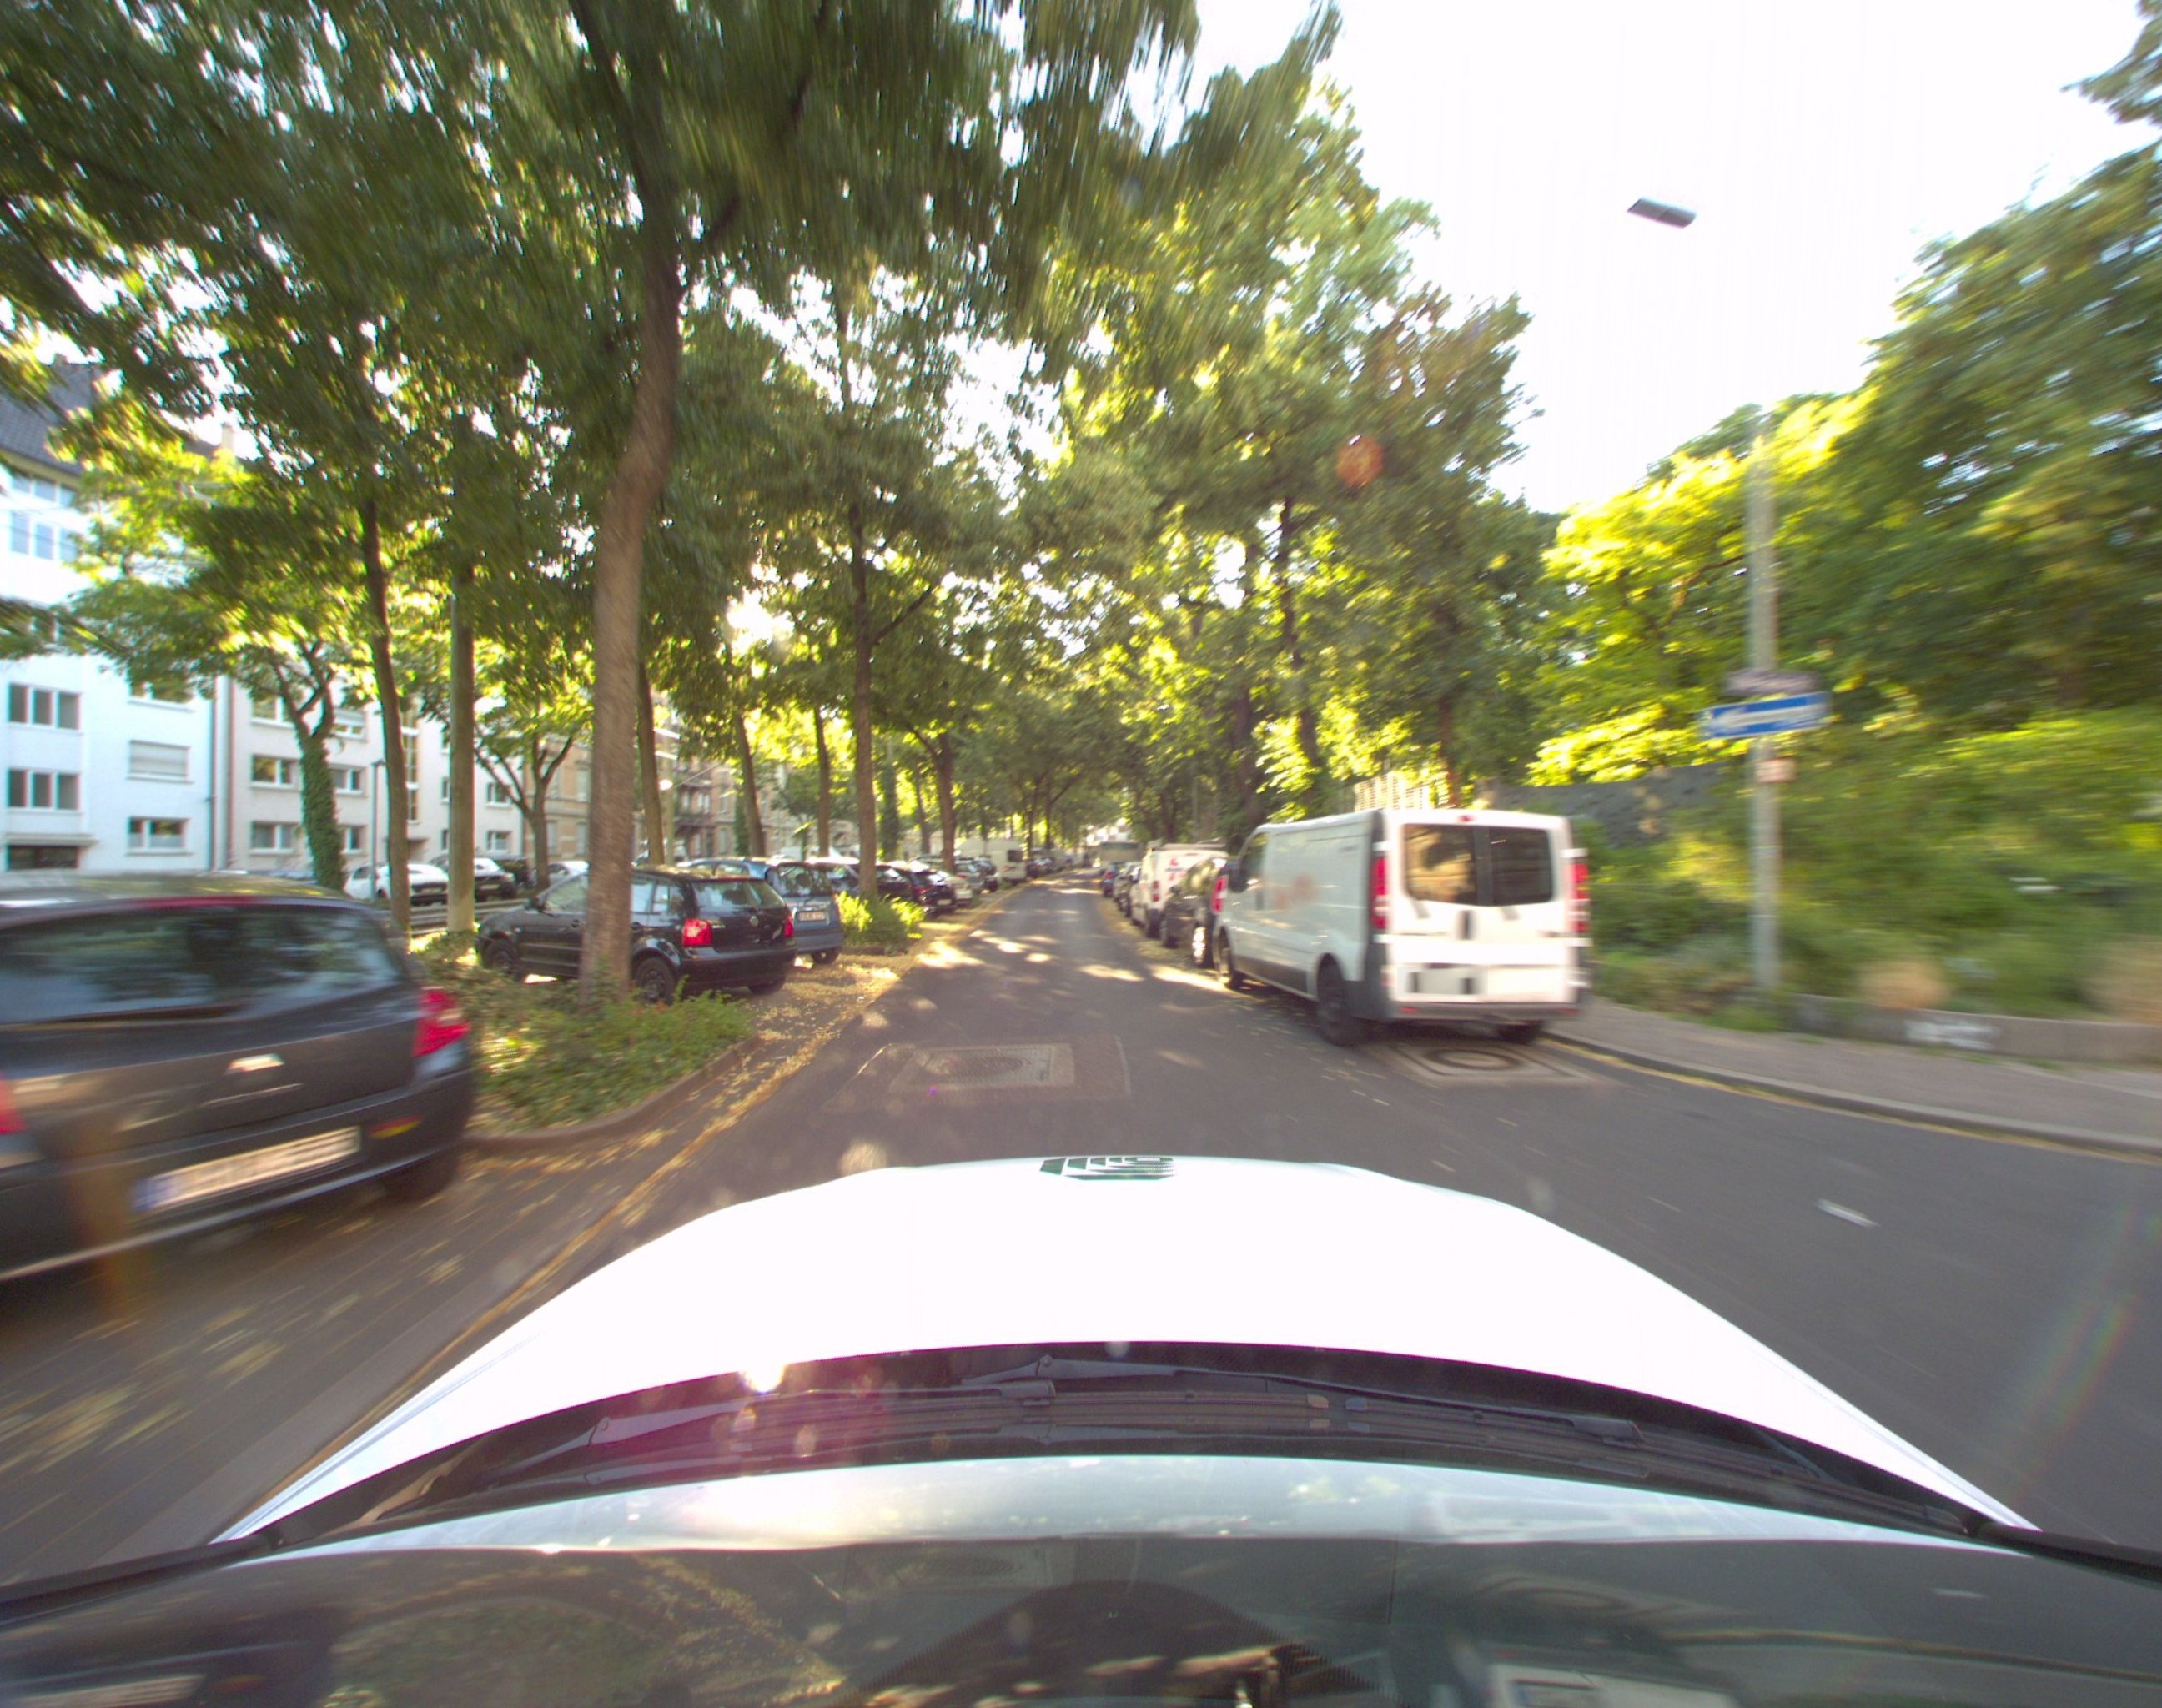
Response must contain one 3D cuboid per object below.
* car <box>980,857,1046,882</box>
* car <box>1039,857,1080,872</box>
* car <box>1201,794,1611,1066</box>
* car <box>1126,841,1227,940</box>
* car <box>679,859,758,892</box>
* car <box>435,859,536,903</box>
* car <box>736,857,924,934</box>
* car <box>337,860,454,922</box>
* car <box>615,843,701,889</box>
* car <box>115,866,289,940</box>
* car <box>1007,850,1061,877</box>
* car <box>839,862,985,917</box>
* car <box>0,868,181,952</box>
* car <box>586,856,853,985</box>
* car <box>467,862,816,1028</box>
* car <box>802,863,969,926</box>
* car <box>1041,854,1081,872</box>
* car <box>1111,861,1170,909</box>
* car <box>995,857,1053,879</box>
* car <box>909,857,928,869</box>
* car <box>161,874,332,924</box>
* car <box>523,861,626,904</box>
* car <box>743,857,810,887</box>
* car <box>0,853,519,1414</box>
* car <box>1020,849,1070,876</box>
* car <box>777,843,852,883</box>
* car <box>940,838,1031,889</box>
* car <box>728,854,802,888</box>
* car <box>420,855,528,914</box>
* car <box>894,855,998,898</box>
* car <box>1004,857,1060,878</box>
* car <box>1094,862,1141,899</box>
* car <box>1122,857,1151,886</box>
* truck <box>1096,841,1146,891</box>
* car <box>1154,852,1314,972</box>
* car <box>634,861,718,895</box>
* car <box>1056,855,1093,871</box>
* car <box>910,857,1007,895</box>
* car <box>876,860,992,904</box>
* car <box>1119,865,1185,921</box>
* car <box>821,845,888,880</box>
[{"bbox_3d":[-4.562,1.040,54.515,4.040,1.473,1.830,2,-1,32],"label":"car"},{"bbox_3d":[-2.382,1.169,88.277,4.040,1.473,1.830,2,-1,32],"label":"car"},{"bbox_3d":[2.825,0.562,8.451,1.942,2.003,4.648,-1,0,-7],"label":"car"},{"bbox_3d":[1.964,0.708,17.802,1.567,1.903,3.898,-1,0,-3],"label":"car"},{"bbox_3d":[-20.599,1.227,46.195,4.187,1.473,1.869,-5,-1,29],"label":"car"},{"bbox_3d":[-28.861,1.276,39.623,1.703,1.932,4.004,-2,0,4],"label":"car"},{"bbox_3d":[-5.756,0.909,18.765,3.785,1.497,1.746,2,-1,20],"label":"car"},{"bbox_3d":[-21.638,1.183,25.672,4.186,1.651,1.870,-5,-1,37],"label":"car"},{"bbox_3d":[-28.450,0.790,55.026,2.541,2.887,5.487,-2,0,4],"label":"car"},{"bbox_3d":[-21.364,1.192,19.779,4.188,1.458,1.617,-5,-1,25],"label":"car"},{"bbox_3d":[-3.846,0.801,66.500,4.040,2.040,1.830,2,-1,32],"label":"car"},{"bbox_3d":[-4.983,1.002,24.072,3.785,1.391,1.746,2,-1,20],"label":"car"},{"bbox_3d":[-21.322,1.212,17.380,4.188,1.458,1.617,-5,-1,25],"label":"car"},{"bbox_3d":[-5.380,0.876,12.122,3.575,1.562,1.617,2,1,25],"label":"car"},{"bbox_3d":[-5.018,0.892,9.292,3.575,1.447,1.617,2,1,24],"label":"car"},{"bbox_3d":[-5.029,1.007,21.044,3.785,1.391,1.746,2,-1,20],"label":"car"},{"bbox_3d":[-2.280,1.018,91.165,4.040,1.789,1.830,2,-1,32],"label":"car"},{"bbox_3d":[1.958,0.995,27.595,1.567,1.467,3.597,-1,0,-3],"label":"car"},{"bbox_3d":[-4.312,1.062,61.404,4.040,1.473,1.830,2,-1,32],"label":"car"},{"bbox_3d":[-25.070,1.410,125.947,1.702,1.820,4.006,-2,0,5],"label":"car"},{"bbox_3d":[-29.160,1.524,28.666,1.703,1.446,4.004,-2,0,4],"label":"car"},{"bbox_3d":[-21.764,1.236,34.995,4.187,1.473,1.869,-5,-1,29],"label":"car"},{"bbox_3d":[-20.707,1.212,55.405,4.187,1.699,1.869,-5,-1,29],"label":"car"},{"bbox_3d":[-4.566,0.814,3.675,3.690,1.520,1.617,2,1,24],"label":"car"},{"bbox_3d":[-3.224,0.746,72.804,4.040,2.210,1.830,2,-1,32],"label":"car"},{"bbox_3d":[-20.117,0.691,61.404,5.201,2.571,2.287,-5,-1,29],"label":"car"},{"bbox_3d":[-5.034,0.499,42.611,4.443,2.476,1.830,2,-1,32],"label":"car"},{"bbox_3d":[-19.465,1.056,50.153,4.187,1.699,1.869,-5,-1,29],"label":"car"},{"bbox_3d":[-21.250,1.071,28.462,4.186,1.749,1.870,-5,-1,37],"label":"car"},{"bbox_3d":[-5.554,0.912,33.501,3.785,1.587,1.746,2,-1,20],"label":"car"},{"bbox_3d":[-3.892,1.078,64.063,4.040,1.473,1.830,2,-1,32],"label":"car"},{"bbox_3d":[1.441,1.043,33.180,1.567,1.385,3.597,-1,0,-3],"label":"car"},{"bbox_3d":[3.235,0.990,47.672,1.564,1.648,3.604,-1,0,4],"label":"car"},{"bbox_3d":[1.963,0.559,41.046,2.357,2.352,4.385,-1,0,1],"label":"truck"},{"bbox_3d":[2.305,0.805,13.167,1.569,1.637,3.704,-1,0,-5],"label":"car"},{"bbox_3d":[-21.613,1.280,43.445,4.187,1.473,1.869,-5,-1,29],"label":"car"},{"bbox_3d":[-0.799,1.070,96.664,4.040,1.789,1.830,2,-1,32],"label":"car"},{"bbox_3d":[-5.421,0.971,36.096,3.785,1.482,1.746,2,-1,20],"label":"car"},{"bbox_3d":[-5.462,1.016,30.327,3.785,1.421,1.746,2,-1,20],"label":"car"},{"bbox_3d":[1.910,1.026,22.753,1.566,1.386,3.600,-1,0,0],"label":"car"},{"bbox_3d":[-19.510,0.730,70.107,5.201,2.571,2.287,-5,-1,29],"label":"car"}]
